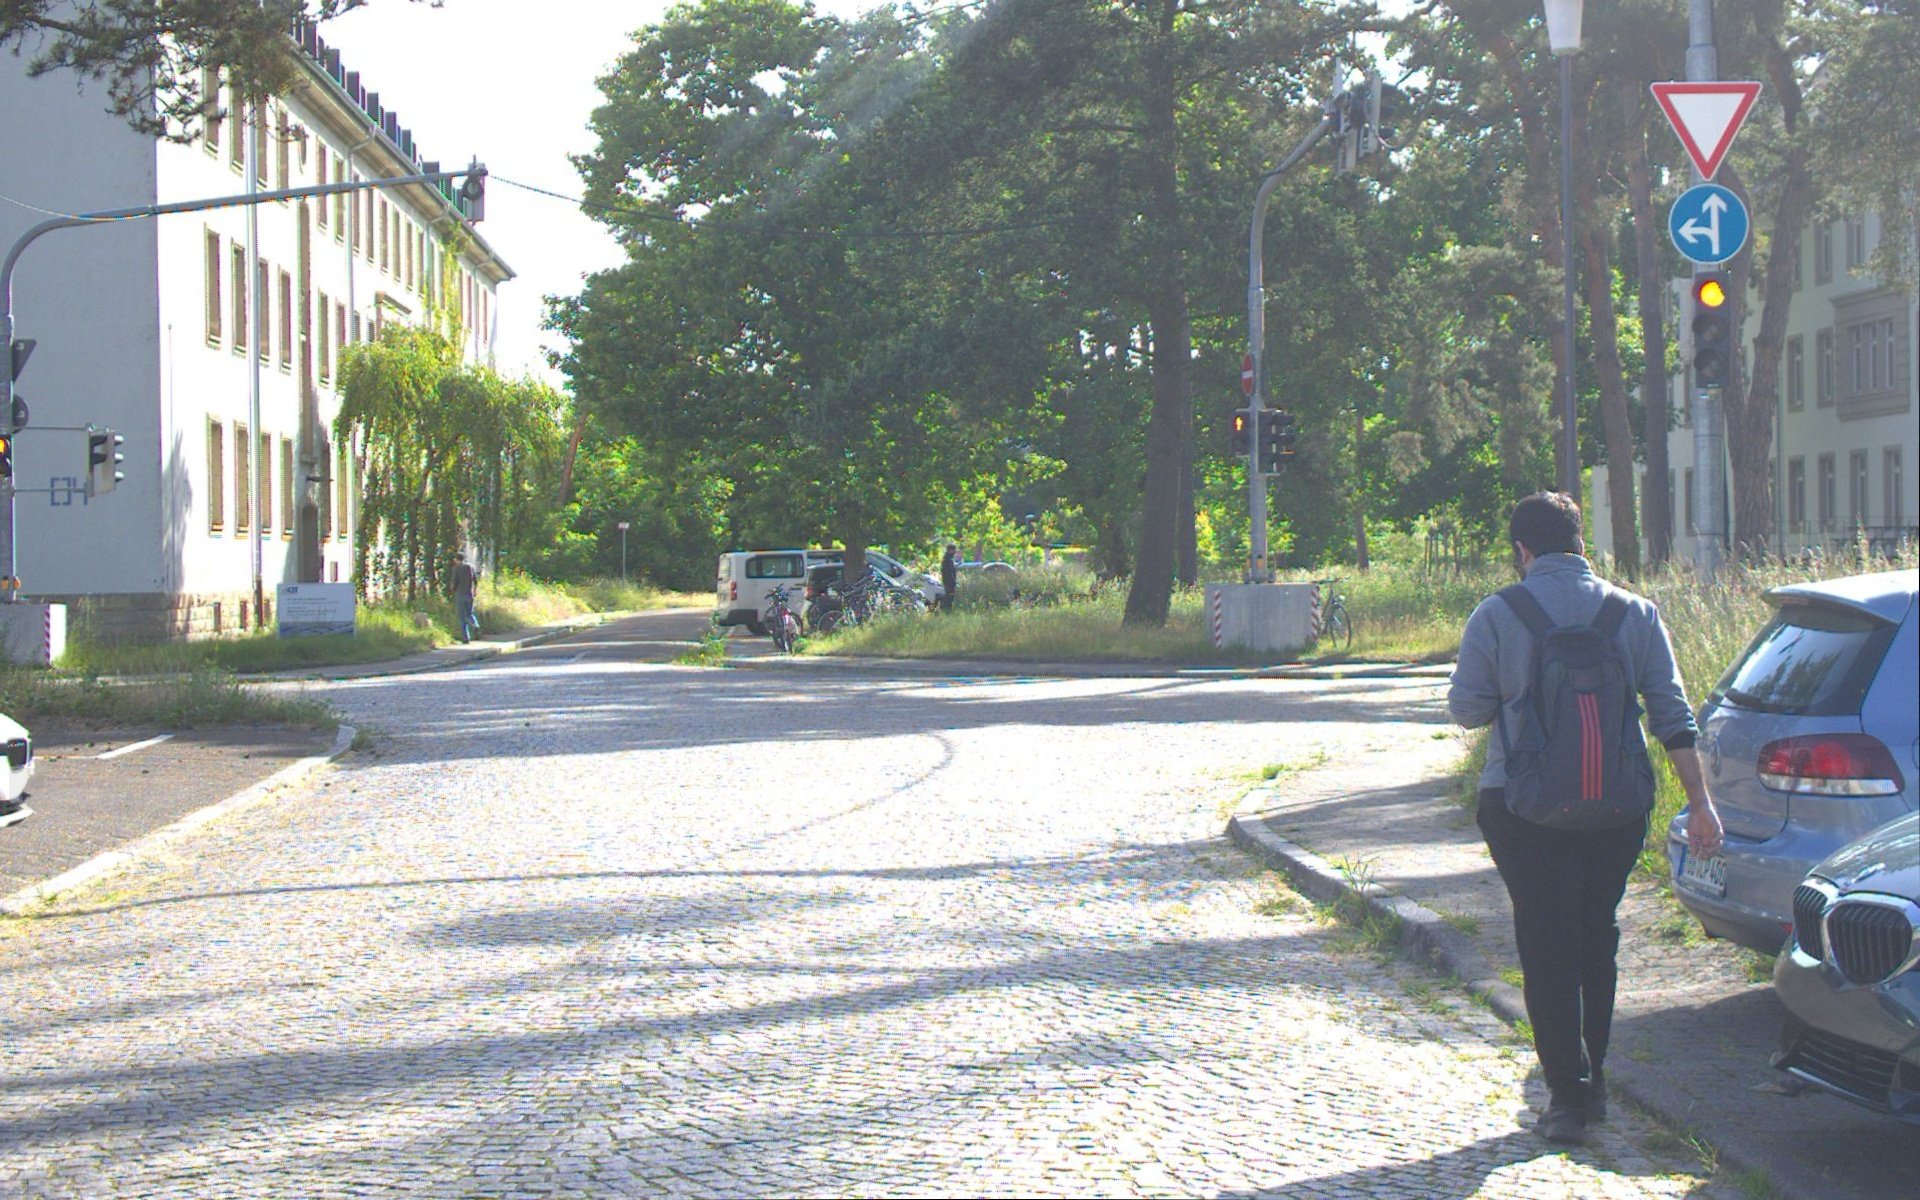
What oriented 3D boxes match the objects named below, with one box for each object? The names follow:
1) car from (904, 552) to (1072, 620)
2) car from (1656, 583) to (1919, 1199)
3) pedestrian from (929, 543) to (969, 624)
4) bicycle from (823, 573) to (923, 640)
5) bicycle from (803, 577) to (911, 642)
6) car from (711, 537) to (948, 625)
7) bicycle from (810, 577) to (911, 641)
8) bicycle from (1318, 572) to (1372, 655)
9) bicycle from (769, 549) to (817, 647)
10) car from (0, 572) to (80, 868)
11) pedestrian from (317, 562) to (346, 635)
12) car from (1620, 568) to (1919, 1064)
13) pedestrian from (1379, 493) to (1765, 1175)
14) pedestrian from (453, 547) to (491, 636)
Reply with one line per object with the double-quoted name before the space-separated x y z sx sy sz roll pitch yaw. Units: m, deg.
"car" 0.649 -0.346 81.846 3.743 1.574 1.742 0 1 -10
"car" 4.302 0.619 8.608 4.619 1.450 1.870 -3 1 -5
"pedestrian" -0.249 -0.363 76.387 0.759 1.777 0.684 -1 1 -10
"bicycle" -1.552 0.111 61.166 1.727 1.160 0.561 -1 1 -6
"bicycle" -1.793 0.163 59.929 1.834 1.108 0.495 -1 1 -6
"car" -2.967 -0.441 77.793 5.065 1.911 2.001 -1 1 -12
"bicycle" -1.753 0.157 60.476 1.727 1.108 0.484 -1 1 -6
"bicycle" 5.417 0.176 48.319 0.722 1.111 2.583 0 1 7
"bicycle" -2.764 -0.053 56.691 0.753 1.575 2.537 0 1 -3
"car" -6.851 0.553 17.965 3.987 1.491 1.772 2 1 2
"pedestrian" -13.411 -0.042 73.380 0.606 1.554 0.545 0 1 -9
"car" 4.186 0.591 11.186 3.673 1.438 1.665 -2 1 -3
"pedestrian" 1.630 0.600 9.277 0.753 1.719 0.828 3 0 -3
"pedestrian" -9.694 -0.176 68.323 0.606 1.746 0.630 0 1 -22
